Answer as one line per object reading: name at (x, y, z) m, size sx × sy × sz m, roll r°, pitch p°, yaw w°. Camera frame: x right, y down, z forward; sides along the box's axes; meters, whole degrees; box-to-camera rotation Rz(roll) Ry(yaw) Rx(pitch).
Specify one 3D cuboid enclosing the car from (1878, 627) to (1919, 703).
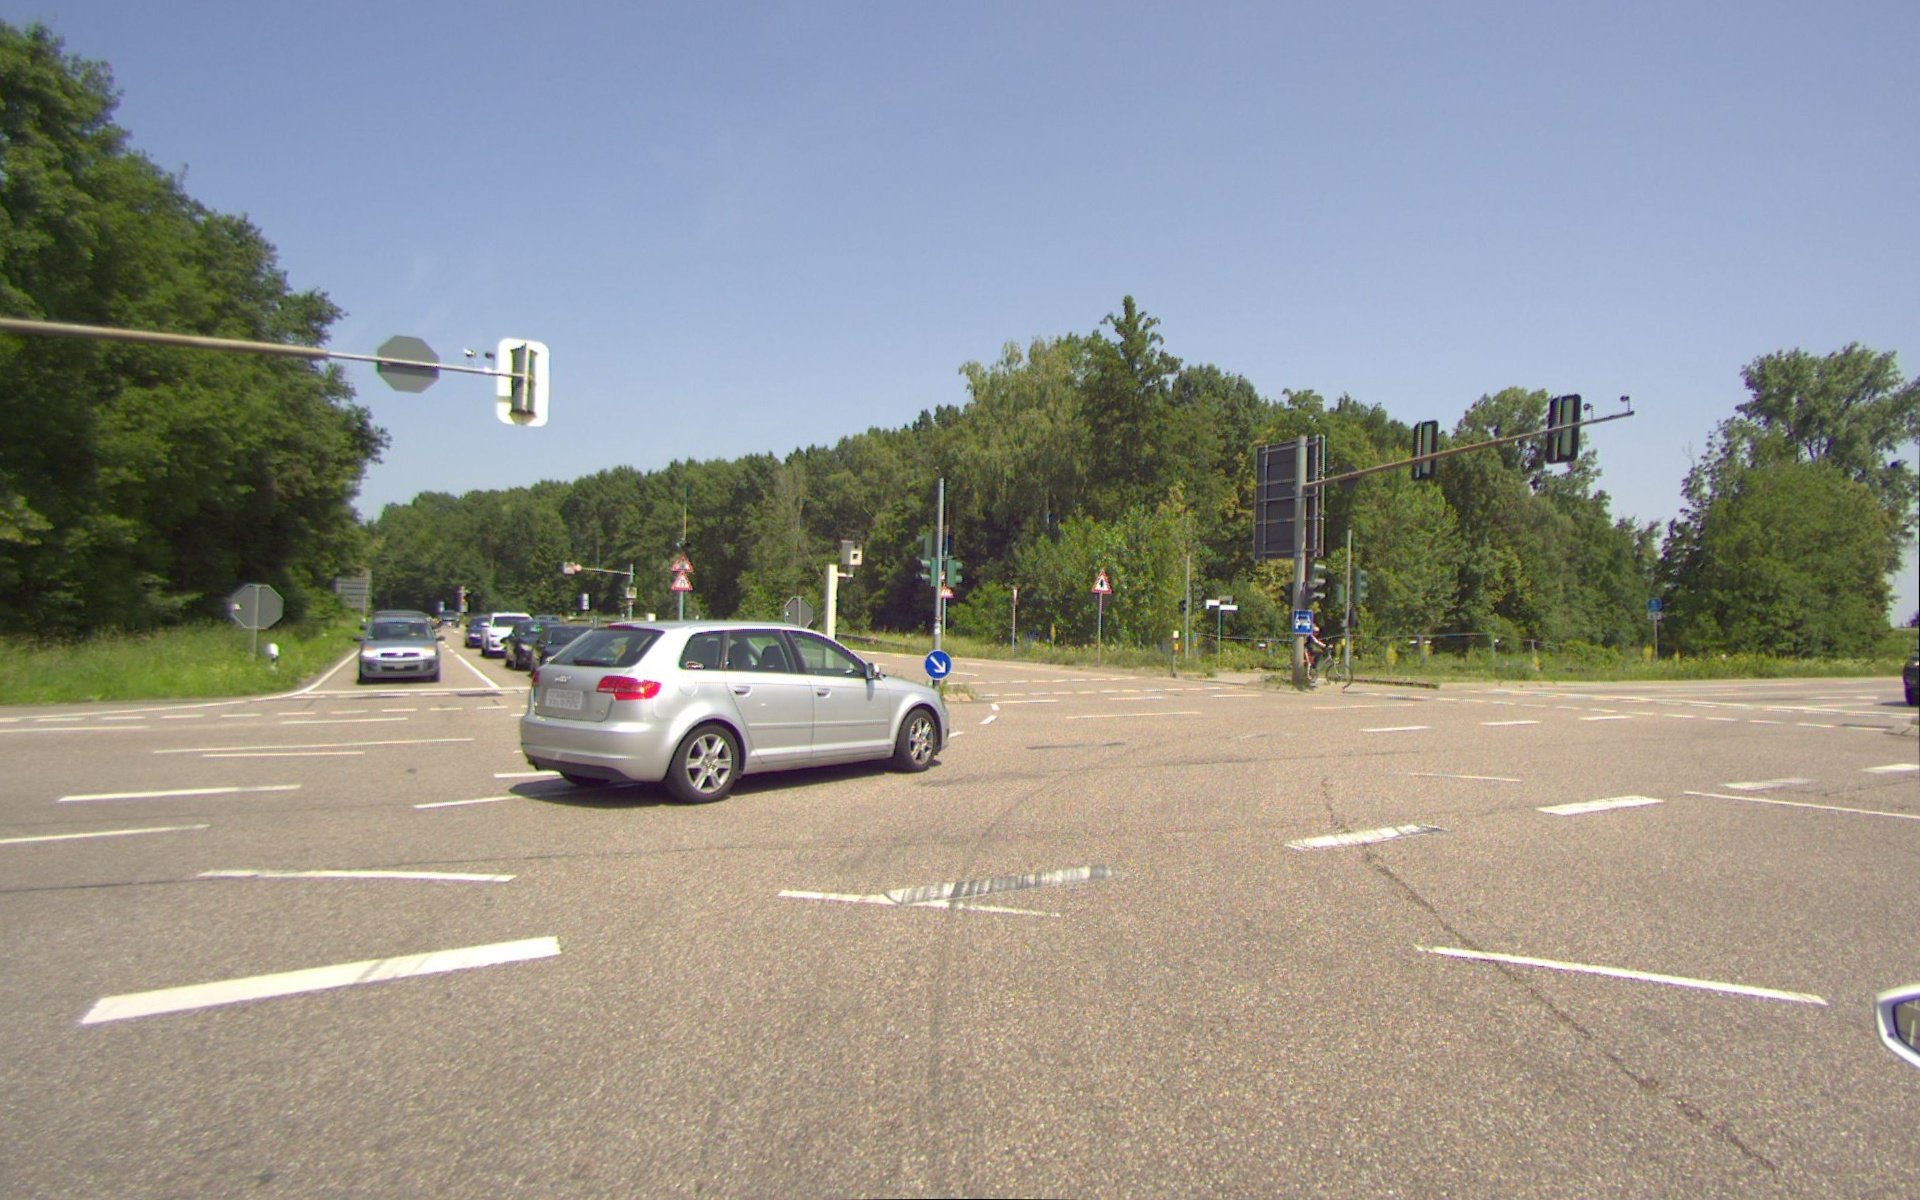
car at (23.980, 1.528, 23.617) m, size 5.300 × 1.700 × 1.985 m, roll 2°, pitch -2°, yaw -29°

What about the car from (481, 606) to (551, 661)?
car at (-16.813, 1.235, 37.923) m, size 2.041 × 1.920 × 4.785 m, roll 2°, pitch -2°, yaw -28°

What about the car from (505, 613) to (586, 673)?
car at (-12.658, 1.267, 30.503) m, size 1.973 × 1.657 × 4.790 m, roll 2°, pitch -2°, yaw -26°

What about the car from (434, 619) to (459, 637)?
car at (-49.506, 2.658, 96.921) m, size 1.973 × 1.657 × 4.790 m, roll 1°, pitch -2°, yaw -26°

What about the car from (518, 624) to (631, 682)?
car at (-9.927, 1.285, 25.629) m, size 2.080 × 1.307 × 4.785 m, roll 2°, pitch -2°, yaw -29°

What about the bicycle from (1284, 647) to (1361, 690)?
bicycle at (9.722, 1.826, 26.980) m, size 1.831 × 1.077 × 0.725 m, roll 1°, pitch -1°, yaw 8°

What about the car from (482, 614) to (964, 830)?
car at (-1.862, 0.866, 8.971) m, size 1.742 × 1.410 × 3.999 m, roll 2°, pitch 0°, yaw 37°

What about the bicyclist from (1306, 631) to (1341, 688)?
bicyclist at (9.738, 1.582, 26.960) m, size 0.701 × 1.479 × 0.927 m, roll 1°, pitch -1°, yaw 8°

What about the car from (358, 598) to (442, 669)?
car at (-16.598, 0.977, 29.813) m, size 1.976 × 1.923 × 4.783 m, roll 2°, pitch -2°, yaw -29°

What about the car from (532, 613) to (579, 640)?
car at (-23.872, 1.561, 59.206) m, size 1.840 × 1.538 × 4.781 m, roll 2°, pitch -2°, yaw -30°

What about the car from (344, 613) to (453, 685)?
car at (-13.775, 1.137, 24.732) m, size 2.104 × 1.588 × 4.784 m, roll 2°, pitch -2°, yaw -29°
